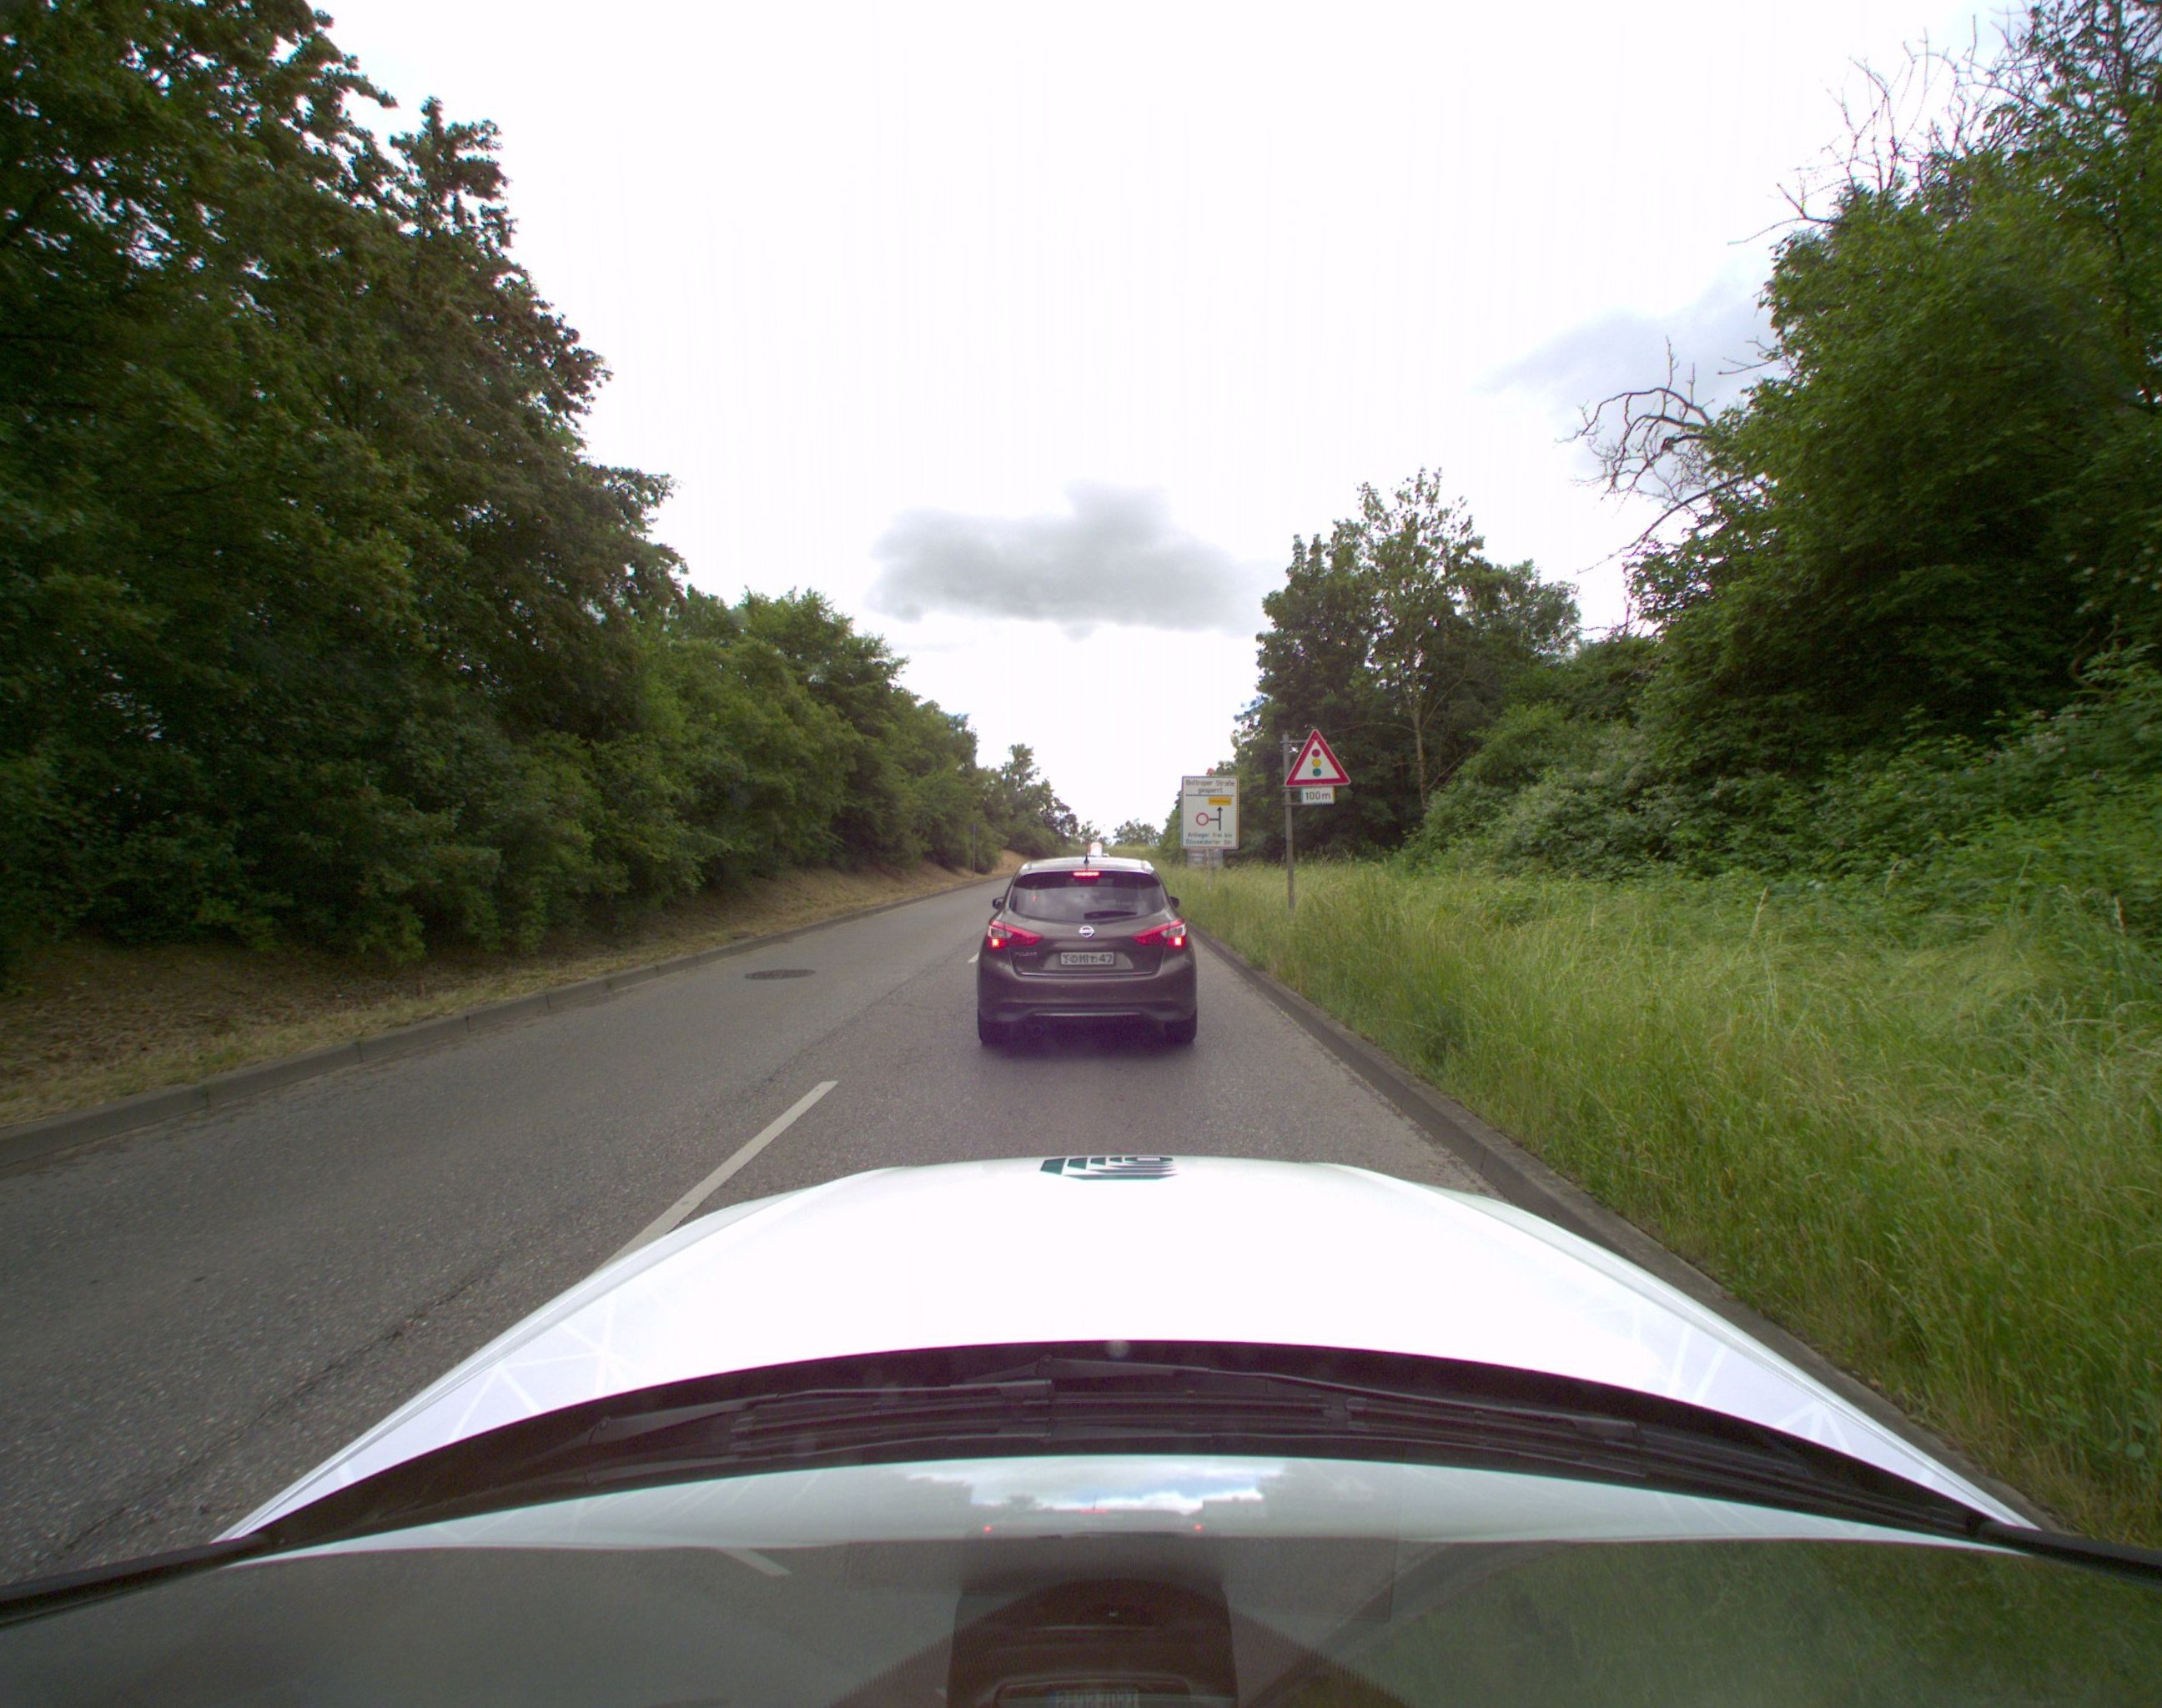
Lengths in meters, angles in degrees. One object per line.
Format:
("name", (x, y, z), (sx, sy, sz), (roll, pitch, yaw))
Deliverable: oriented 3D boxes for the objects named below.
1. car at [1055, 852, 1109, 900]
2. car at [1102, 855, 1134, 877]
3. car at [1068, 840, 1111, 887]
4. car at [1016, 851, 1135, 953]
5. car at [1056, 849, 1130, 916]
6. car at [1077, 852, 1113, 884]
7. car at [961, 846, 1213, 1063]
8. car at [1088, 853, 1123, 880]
("car", (0.097, 0.727, 28.943), (1.729, 1.556, 3.545), (-1, 0, 2))
("car", (2.792, 0.838, 60.038), (1.724, 1.526, 3.654), (-1, 0, 12))
("car", (0.416, 0.415, 36.103), (1.729, 1.935, 3.545), (-1, 0, 2))
("car", (-0.021, 0.751, 14.635), (1.823, 1.556, 3.626), (-1, 0, 2))
("car", (0.341, 0.691, 21.212), (1.729, 1.556, 3.545), (-1, 0, 2))
("car", (0.698, 0.696, 41.732), (1.730, 1.526, 3.543), (-1, 0, 0))
("car", (0.048, 0.734, 7.711), (1.824, 1.556, 3.499), (-1, 0, 0))
("car", (1.543, 0.751, 49.759), (1.726, 1.526, 3.649), (-1, 0, 8))
